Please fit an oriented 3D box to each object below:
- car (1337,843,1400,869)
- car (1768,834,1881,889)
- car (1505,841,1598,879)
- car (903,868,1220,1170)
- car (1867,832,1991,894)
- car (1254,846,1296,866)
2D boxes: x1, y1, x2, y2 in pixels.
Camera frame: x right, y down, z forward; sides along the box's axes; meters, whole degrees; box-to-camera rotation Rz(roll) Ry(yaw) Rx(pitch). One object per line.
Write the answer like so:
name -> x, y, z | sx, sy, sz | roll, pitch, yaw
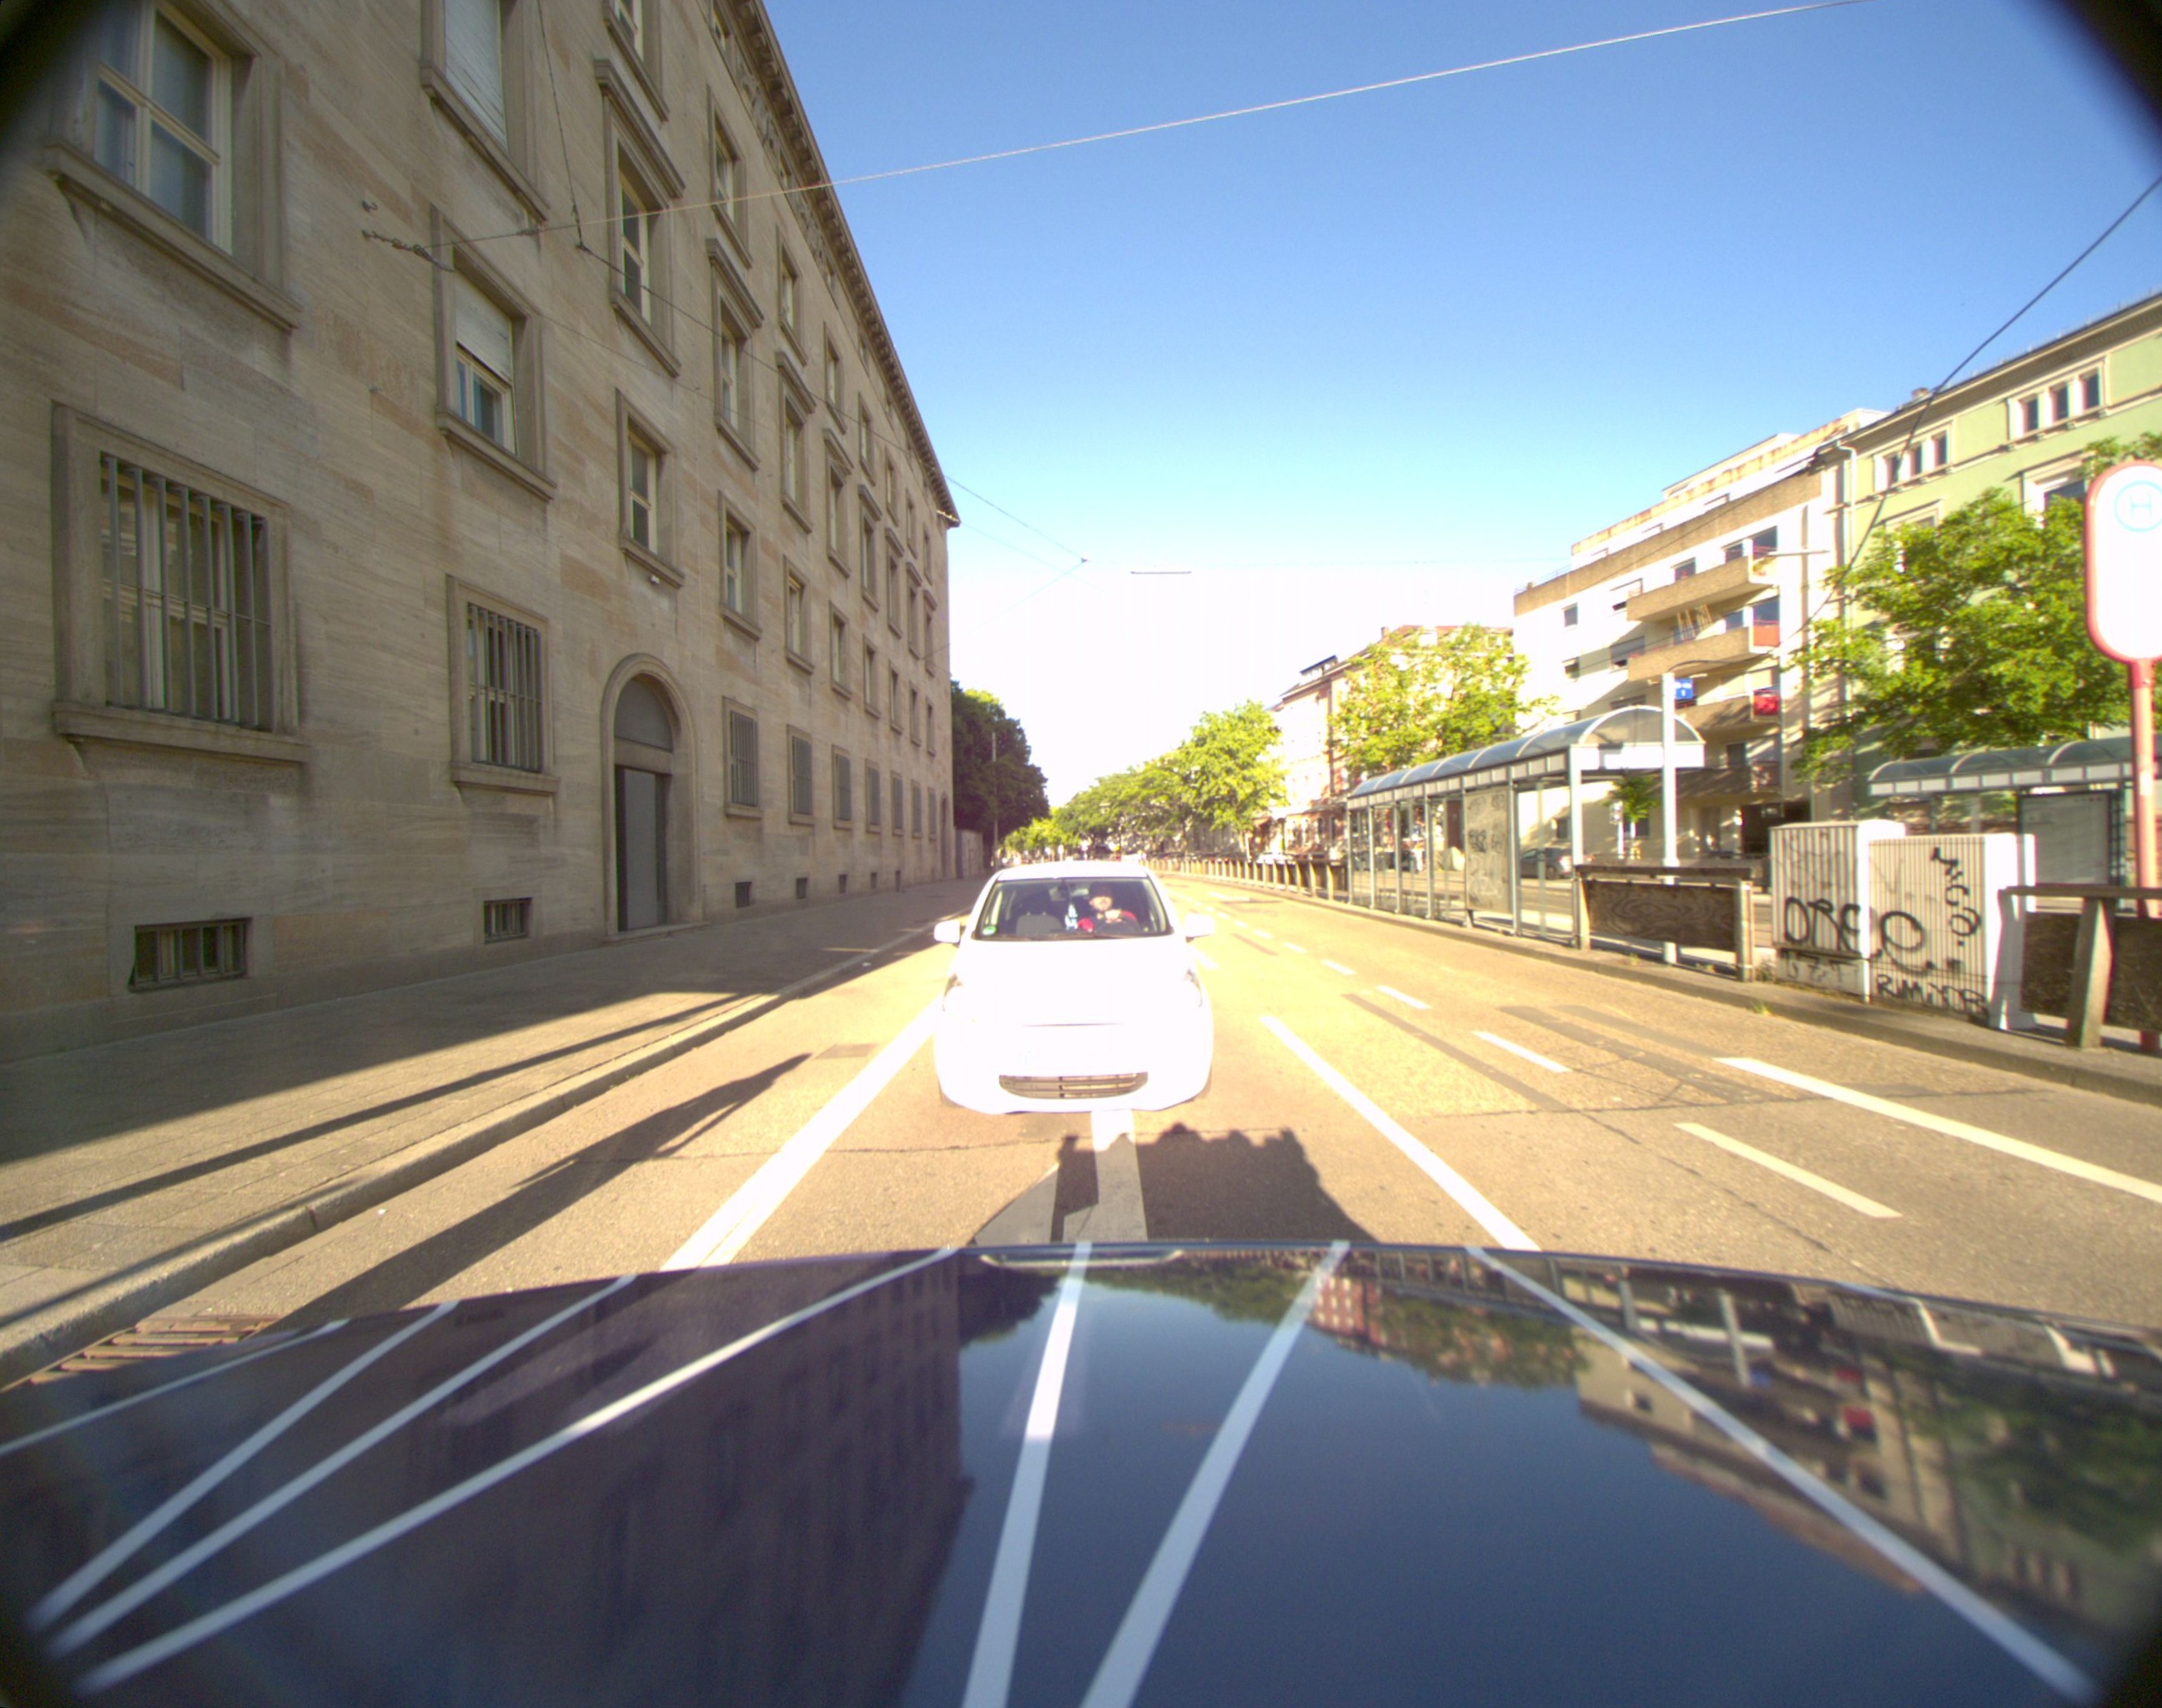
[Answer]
car -> 19.543, 0.124, 51.723 | 3.599, 1.558, 1.630 | -2, 1, -7
car -> 23.882, 0.225, 24.403 | 3.605, 1.558, 1.627 | -3, 1, -29
car -> 20.913, 0.231, 33.933 | 1.631, 1.558, 3.598 | -2, 1, -5
car -> -0.077, 0.902, 5.810 | 1.612, 1.462, 3.631 | -2, 0, 1
car -> 24.461, 0.231, 21.891 | 3.605, 1.558, 1.627 | -3, 1, -29
car -> 16.257, 0.155, 63.477 | 3.607, 1.558, 1.627 | -3, 1, -42
